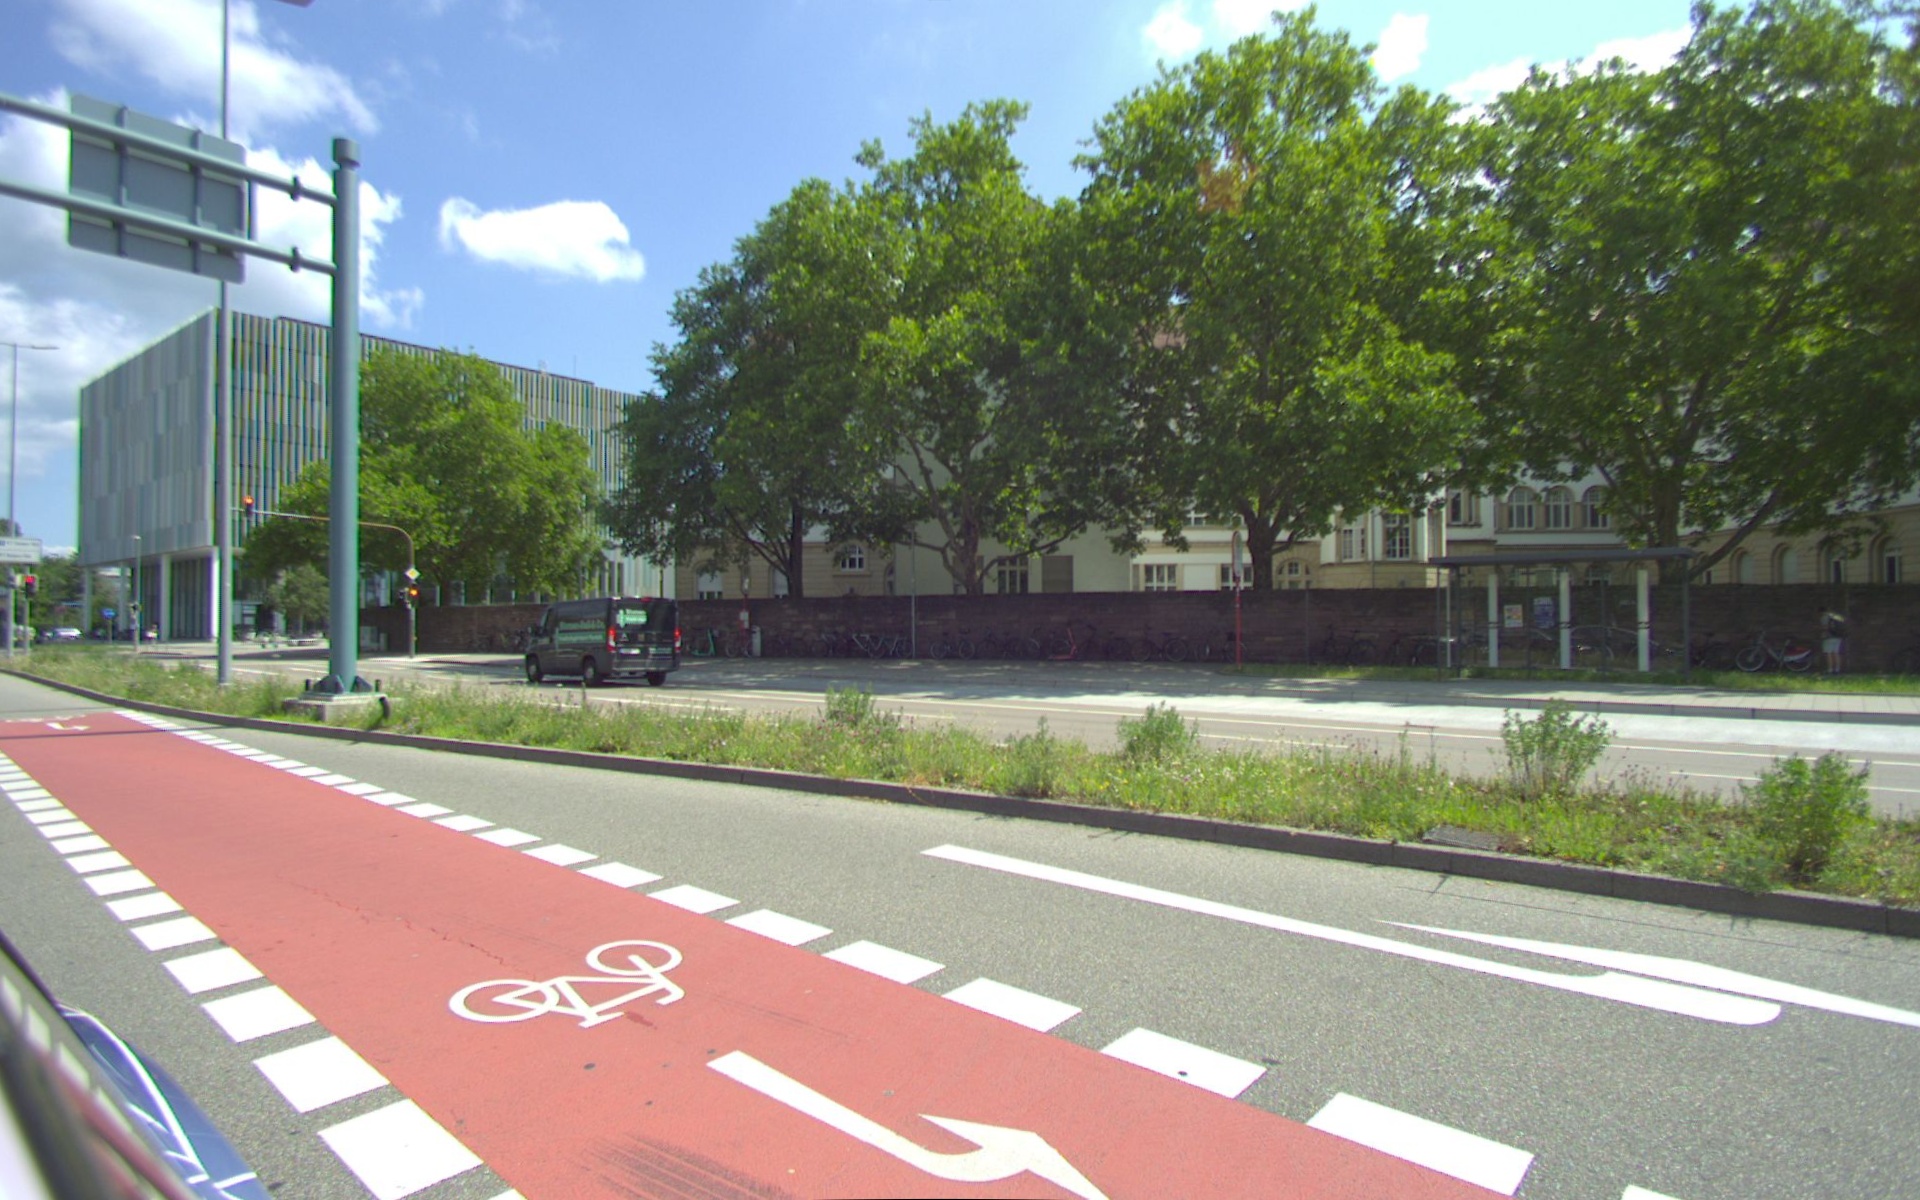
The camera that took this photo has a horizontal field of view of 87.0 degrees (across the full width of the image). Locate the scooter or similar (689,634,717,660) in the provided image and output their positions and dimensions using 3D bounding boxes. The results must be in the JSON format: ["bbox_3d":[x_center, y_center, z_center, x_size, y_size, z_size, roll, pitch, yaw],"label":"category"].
[{"bbox_3d":[-10.151,1.861,39.926,1.133,1.028,0.264,-1,-2,19],"label":"scooter or similar"}]

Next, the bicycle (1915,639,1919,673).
[{"bbox_3d":[24.432,1.358,24.606,1.734,0.823,0.382,-1,-2,18],"label":"bicycle"}]

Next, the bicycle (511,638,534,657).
[{"bbox_3d":[-19.978,2.177,46.206,1.230,0.837,0.262,-1,-2,29],"label":"bicycle"}]

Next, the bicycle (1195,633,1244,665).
[{"bbox_3d":[7.798,1.471,30.422,1.389,0.972,0.262,-1,-2,28],"label":"bicycle"}]

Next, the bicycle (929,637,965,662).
[{"bbox_3d":[-0.439,1.674,34.284,1.230,0.837,0.262,-1,-2,28],"label":"bicycle"}]

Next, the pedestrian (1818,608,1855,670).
[{"bbox_3d":[21.463,0.955,24.783,0.633,1.484,0.504,-2,-2,39],"label":"pedestrian"}]

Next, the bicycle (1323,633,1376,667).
[{"bbox_3d":[11.171,1.428,29.038,1.384,0.972,0.263,-1,-2,18],"label":"bicycle"}]

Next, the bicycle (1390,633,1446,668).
[{"bbox_3d":[12.856,1.406,28.424,1.384,0.972,0.263,-1,-2,18],"label":"bicycle"}]

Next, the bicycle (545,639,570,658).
[{"bbox_3d":[-17.488,2.095,43.974,1.230,0.837,0.262,-1,-2,29],"label":"bicycle"}]

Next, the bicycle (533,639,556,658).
[{"bbox_3d":[-18.601,2.163,45.318,1.230,0.837,0.262,-1,-2,29],"label":"bicycle"}]

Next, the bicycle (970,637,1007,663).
[{"bbox_3d":[0.953,1.669,33.724,1.230,0.837,0.262,-1,-2,28],"label":"bicycle"}]

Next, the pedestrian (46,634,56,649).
[{"bbox_3d":[-88.764,4.051,98.857,0.686,1.464,0.689,1,-3,-45],"label":"pedestrian"}]

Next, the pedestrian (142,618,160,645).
[{"bbox_3d":[-61.257,2.399,76.647,0.994,2.029,0.853,-2,-2,39],"label":"pedestrian"}]

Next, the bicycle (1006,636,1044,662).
[{"bbox_3d":[2.125,1.611,33.075,1.230,0.837,0.262,-1,-2,28],"label":"bicycle"}]

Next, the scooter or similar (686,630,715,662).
[{"bbox_3d":[-9.975,1.759,38.864,1.230,1.199,0.262,-1,-2,29],"label":"scooter or similar"}]

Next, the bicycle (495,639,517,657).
[{"bbox_3d":[-21.059,2.214,46.976,1.231,0.837,0.262,-2,-2,30],"label":"bicycle"}]

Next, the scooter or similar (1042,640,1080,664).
[{"bbox_3d":[3.174,1.630,31.828,1.133,0.734,0.264,-1,-2,18],"label":"scooter or similar"}]

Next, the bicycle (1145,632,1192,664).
[{"bbox_3d":[6.392,1.477,31.042,1.385,0.972,0.263,-1,-2,20],"label":"bicycle"}]

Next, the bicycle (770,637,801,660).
[{"bbox_3d":[-6.477,1.811,37.573,1.231,0.837,0.262,-1,-2,30],"label":"bicycle"}]

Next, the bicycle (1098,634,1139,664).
[{"bbox_3d":[4.950,1.524,31.628,1.230,0.915,0.262,-1,-2,28],"label":"bicycle"}]

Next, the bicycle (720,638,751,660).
[{"bbox_3d":[-8.653,1.887,38.957,1.226,0.837,0.263,-1,-2,19],"label":"bicycle"}]

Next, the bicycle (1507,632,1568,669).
[{"bbox_3d":[15.622,1.370,27.393,1.384,0.972,0.263,-1,-2,18],"label":"bicycle"}]

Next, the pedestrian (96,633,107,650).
[{"bbox_3d":[-77.305,3.742,91.159,0.686,1.464,0.689,1,-2,-44],"label":"pedestrian"}]

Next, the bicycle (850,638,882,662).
[{"bbox_3d":[-3.337,1.754,35.904,1.231,0.837,0.262,-1,-2,30],"label":"bicycle"}]

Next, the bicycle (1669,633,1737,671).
[{"bbox_3d":[19.224,1.347,26.199,1.384,0.972,0.263,-1,-2,18],"label":"bicycle"}]

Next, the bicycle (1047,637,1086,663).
[{"bbox_3d":[3.401,1.595,32.463,1.230,0.837,0.262,-1,-2,28],"label":"bicycle"}]

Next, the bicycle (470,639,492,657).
[{"bbox_3d":[-22.697,2.282,47.967,1.231,0.837,0.262,-2,-2,30],"label":"bicycle"}]

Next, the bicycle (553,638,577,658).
[{"bbox_3d":[-17.412,2.112,44.568,1.230,0.837,0.262,-1,-2,29],"label":"bicycle"}]

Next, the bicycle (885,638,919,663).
[{"bbox_3d":[-2.022,1.752,35.123,1.231,0.837,0.262,-1,-2,30],"label":"bicycle"}]

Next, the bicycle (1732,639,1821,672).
[{"bbox_3d":[20.736,1.407,25.725,1.734,0.823,0.327,-1,-2,18],"label":"bicycle"}]

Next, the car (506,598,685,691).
[{"bbox_3d":[-9.529,1.158,26.275,5.014,2.192,2.126,-2,-4,40],"label":"car"}]

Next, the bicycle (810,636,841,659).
[{"bbox_3d":[-4.897,1.732,36.865,1.231,0.837,0.262,-1,-2,30],"label":"bicycle"}]

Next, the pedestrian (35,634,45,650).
[{"bbox_3d":[-86.298,3.954,94.908,0.686,1.464,0.689,1,-3,-45],"label":"pedestrian"}]
